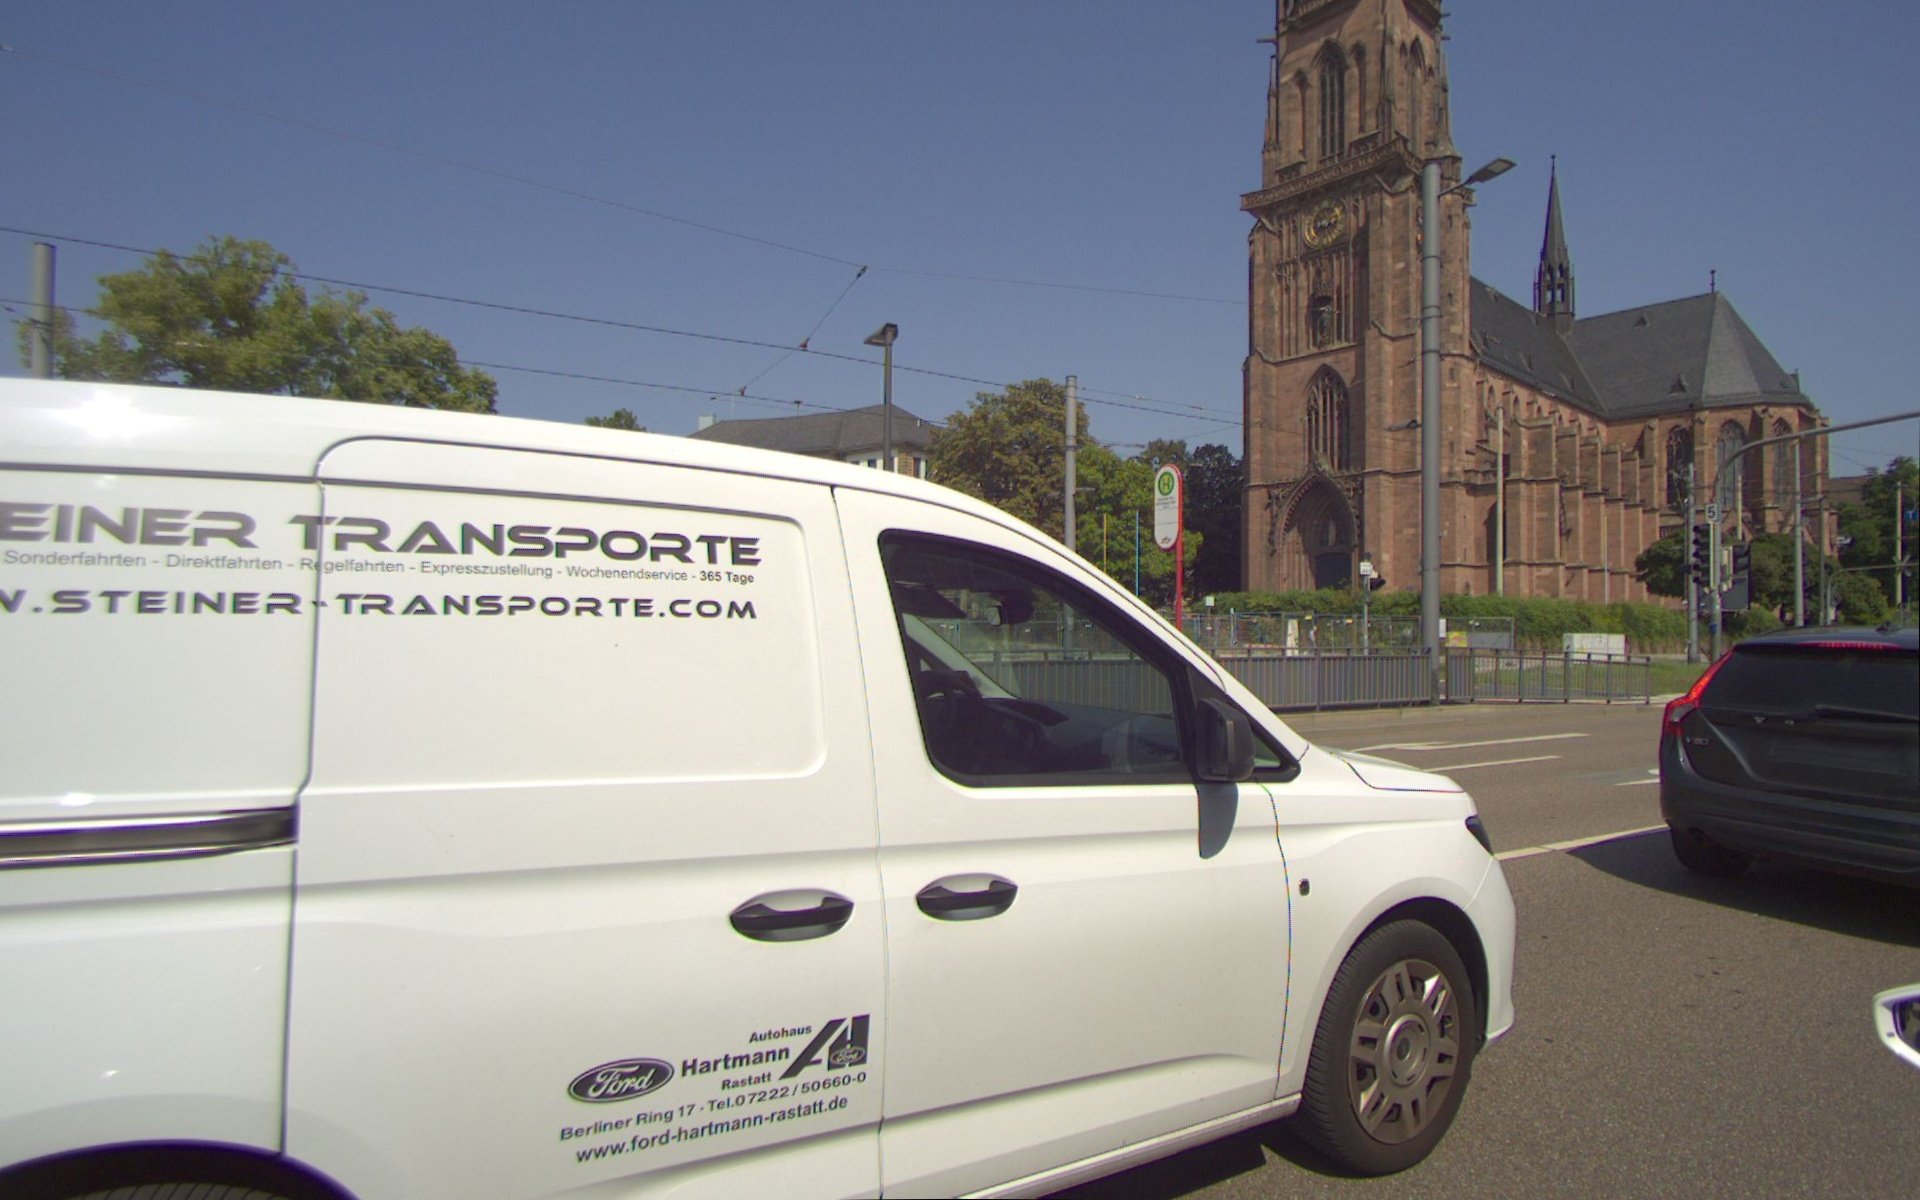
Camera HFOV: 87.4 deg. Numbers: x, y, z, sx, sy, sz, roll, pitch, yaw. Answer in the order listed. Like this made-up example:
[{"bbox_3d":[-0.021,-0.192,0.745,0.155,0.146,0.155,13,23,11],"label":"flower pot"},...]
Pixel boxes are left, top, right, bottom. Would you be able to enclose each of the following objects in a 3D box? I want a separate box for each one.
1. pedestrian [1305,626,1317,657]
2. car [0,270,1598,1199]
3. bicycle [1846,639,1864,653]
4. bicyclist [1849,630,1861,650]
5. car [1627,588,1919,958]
[{"bbox_3d":[18.033,2.131,51.650,0.534,1.551,0.435,0,-1,27],"label":"pedestrian"},{"bbox_3d":[-0.335,0.555,2.700,4.189,1.844,1.739,1,-1,-30],"label":"car"},{"bbox_3d":[58.616,3.011,65.784,1.457,0.871,0.452,1,-2,-29],"label":"bicycle"},{"bbox_3d":[58.611,2.632,65.790,0.419,1.339,0.446,1,-2,-28],"label":"bicyclist"},{"bbox_3d":[5.927,0.800,5.817,4.257,1.636,1.739,1,0,-30],"label":"car"}]
